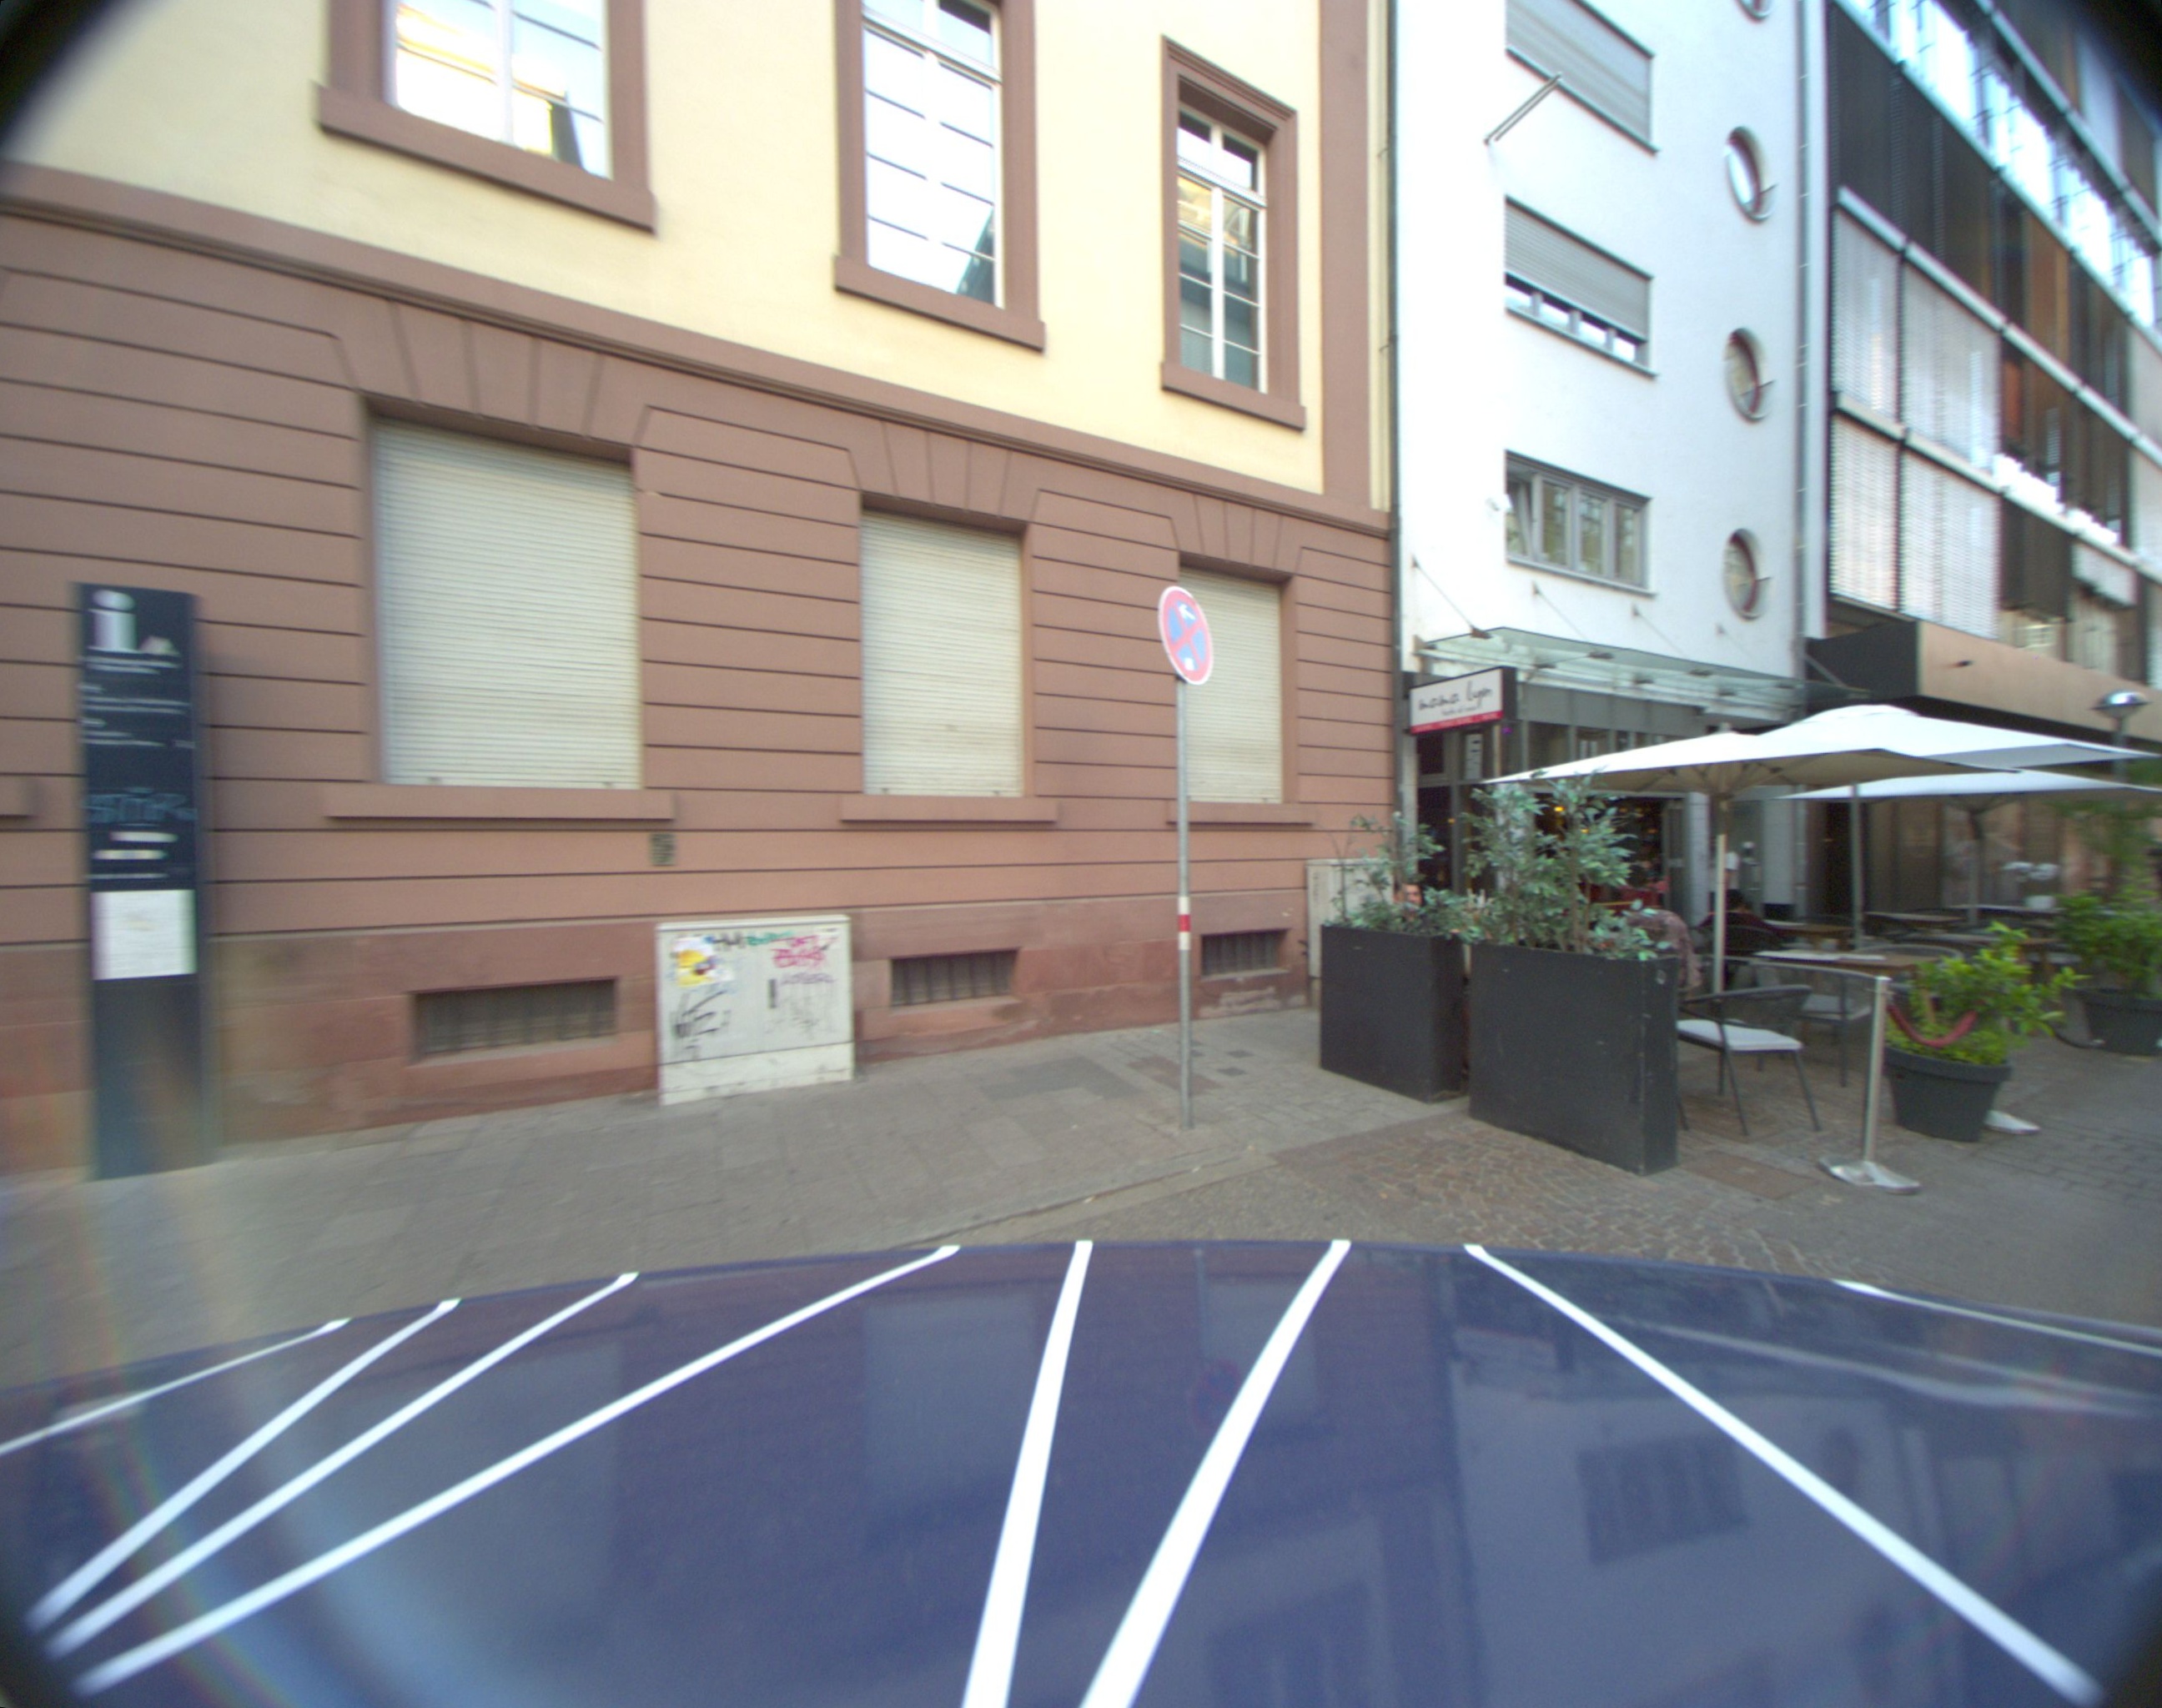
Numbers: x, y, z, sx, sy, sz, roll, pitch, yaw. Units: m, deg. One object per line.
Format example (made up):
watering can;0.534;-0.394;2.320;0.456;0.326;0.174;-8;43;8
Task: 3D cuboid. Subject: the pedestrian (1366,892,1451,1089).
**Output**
pedestrian;2.337;0.938;5.417;0.496;1.298;0.361;-1;1;-40

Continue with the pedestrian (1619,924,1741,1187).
pedestrian;3.074;0.990;3.905;0.384;1.206;0.399;-1;1;-36

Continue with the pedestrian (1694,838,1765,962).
pedestrian;9.585;0.654;11.233;0.603;1.762;0.639;-1;1;-31

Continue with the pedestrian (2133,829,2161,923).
pedestrian;21.279;0.421;14.801;0.676;1.825;0.802;-1;1;-24

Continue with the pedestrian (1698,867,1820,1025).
pedestrian;6.548;0.840;7.344;0.869;1.412;0.575;-1;1;-25
